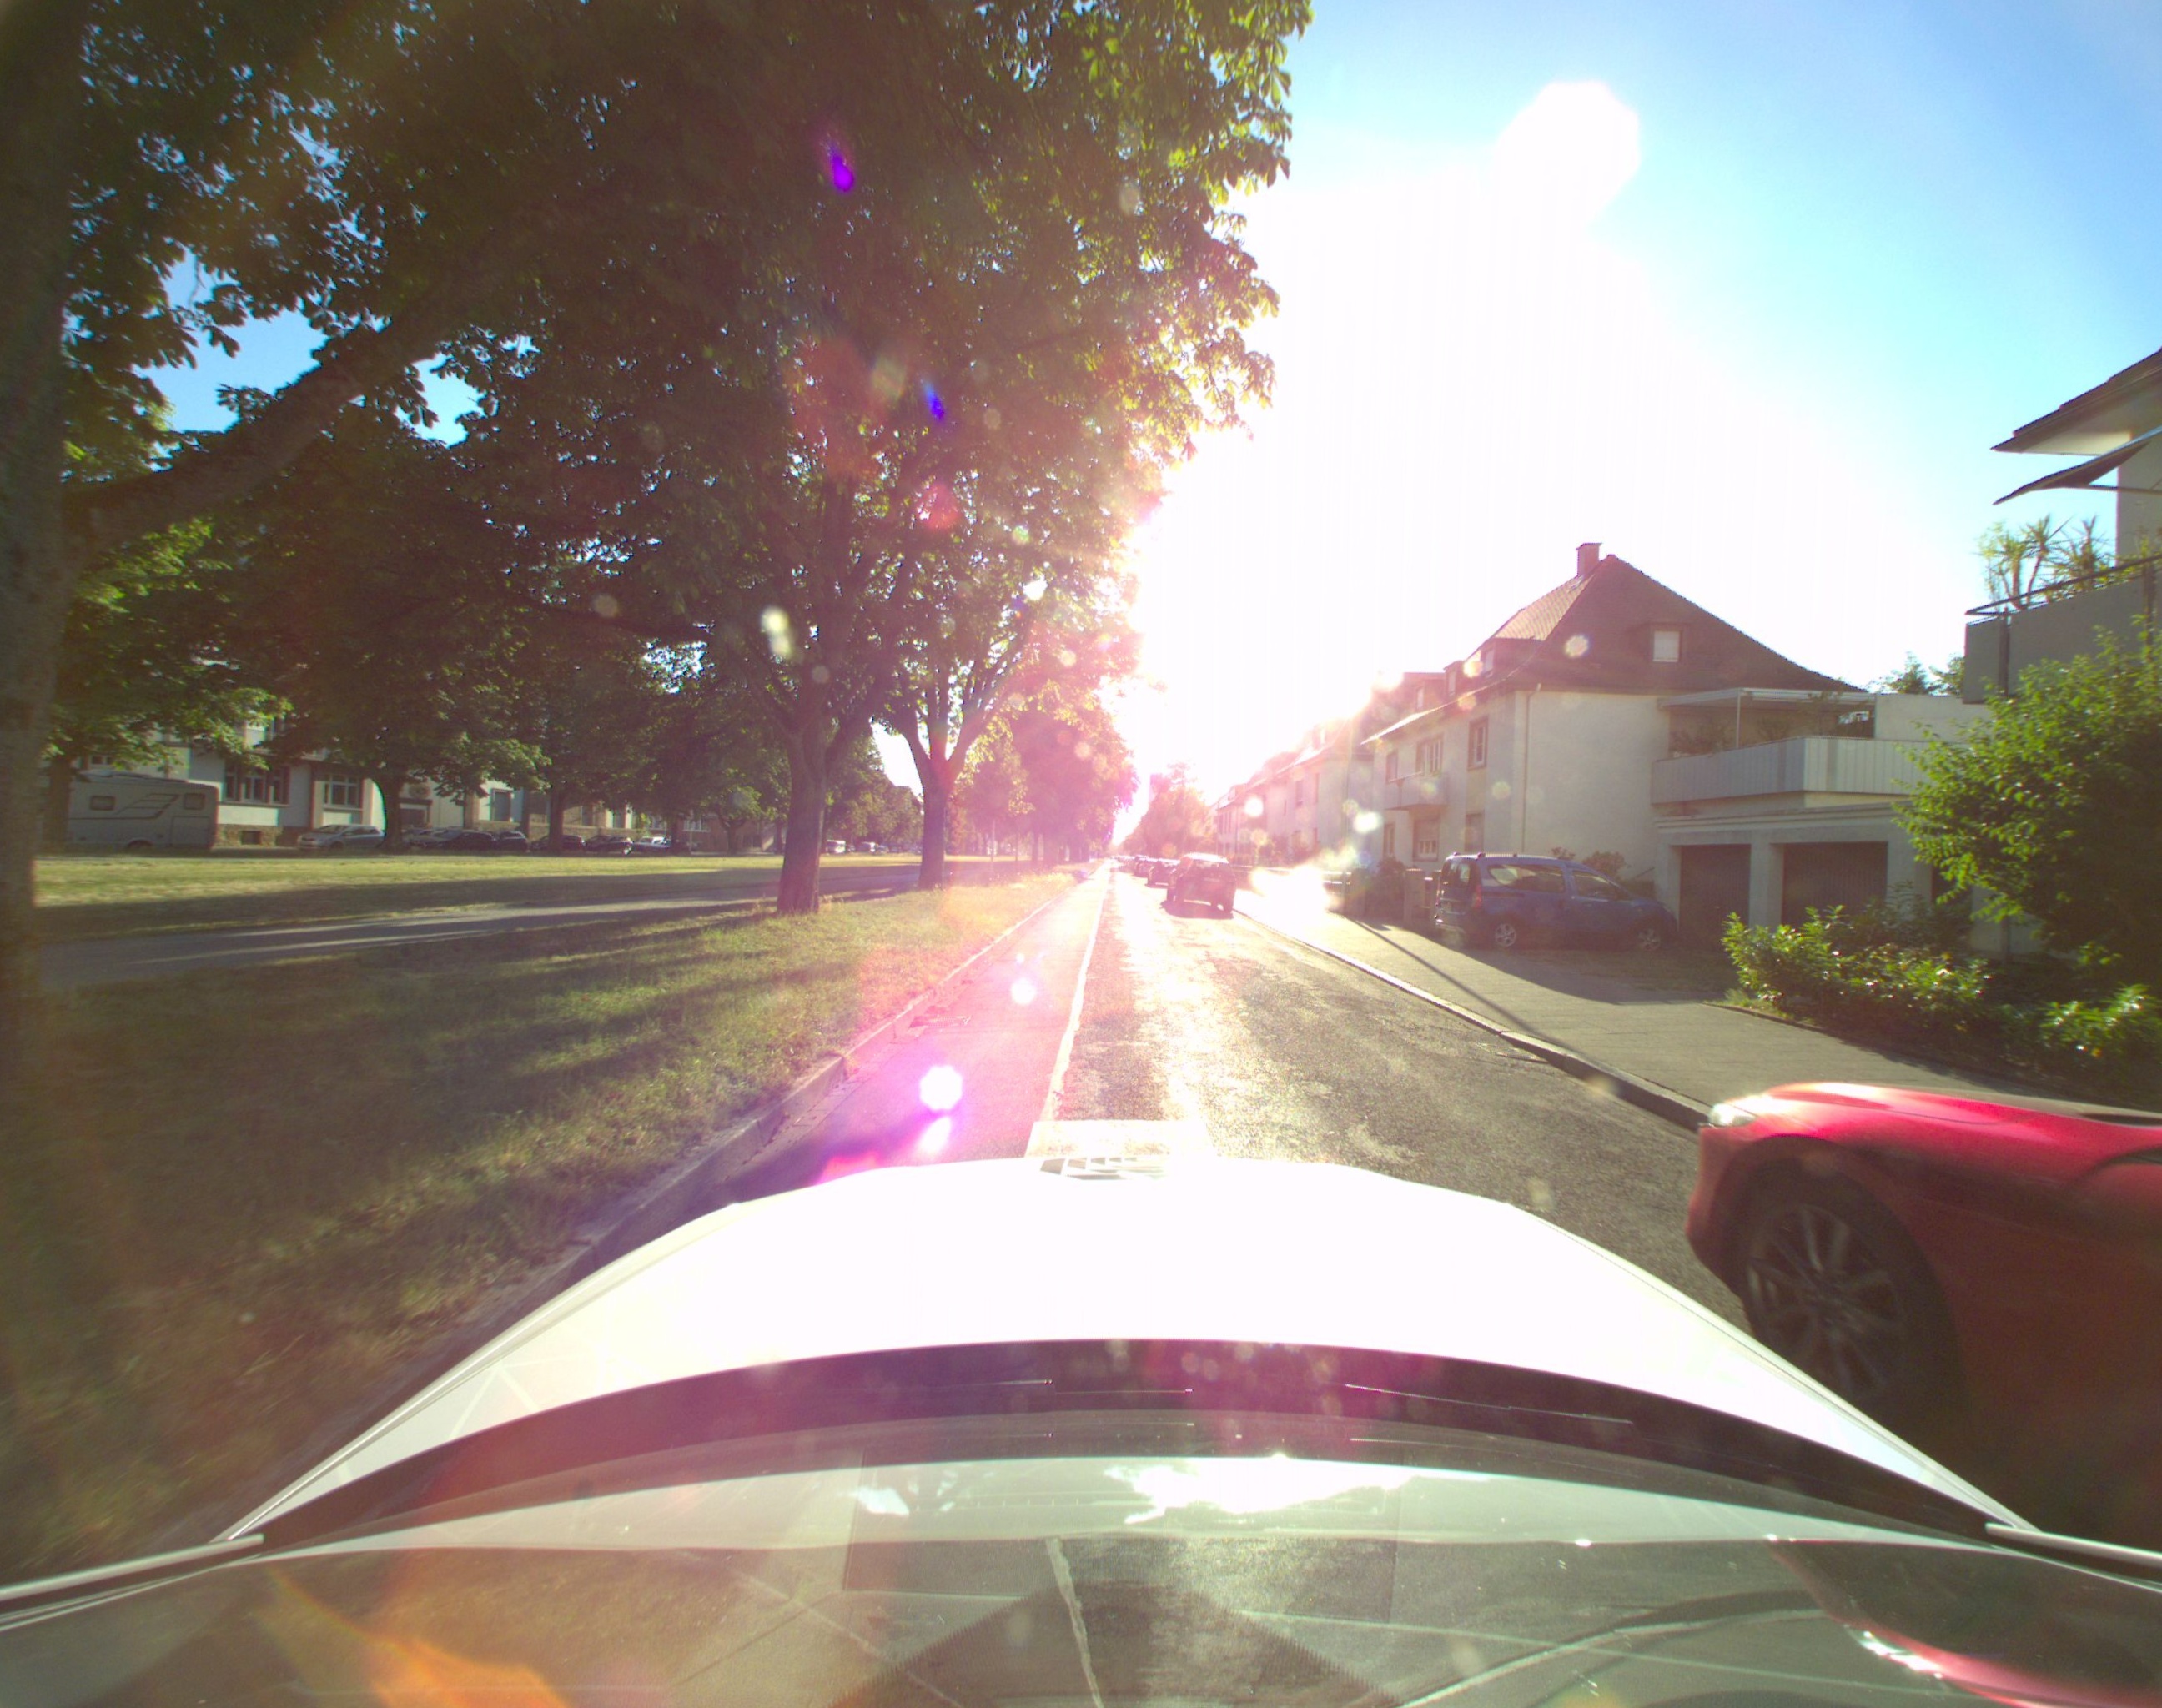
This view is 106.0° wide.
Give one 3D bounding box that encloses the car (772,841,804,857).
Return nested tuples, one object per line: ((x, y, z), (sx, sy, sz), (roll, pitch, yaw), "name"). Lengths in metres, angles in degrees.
((-35.289, -0.545, 98.176), (1.985, 1.659, 4.359), (4, -1, 4), "car")

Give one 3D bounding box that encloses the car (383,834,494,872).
((-32.377, 0.008, 41.219), (1.872, 1.674, 4.318), (4, -1, 3), "car")

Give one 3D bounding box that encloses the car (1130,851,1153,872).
((6.262, 0.793, 84.300), (1.986, 2.014, 4.000), (4, -1, 1), "car")

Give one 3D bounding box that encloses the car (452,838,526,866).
((-37.502, -0.115, 51.742), (1.752, 1.583, 3.792), (4, 0, 1), "car")

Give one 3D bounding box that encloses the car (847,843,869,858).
((-30.591, -0.473, 111.707), (1.722, 1.690, 3.878), (4, -2, 0), "car")

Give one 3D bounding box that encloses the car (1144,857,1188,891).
((4.534, 1.059, 44.190), (1.986, 1.653, 4.000), (3, -1, 1), "car")

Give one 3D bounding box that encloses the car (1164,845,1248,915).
((3.981, 0.779, 26.735), (1.987, 1.903, 4.390), (6, 0, 1), "car")

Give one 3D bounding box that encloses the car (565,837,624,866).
((-37.293, -0.177, 62.542), (1.987, 2.014, 3.999), (4, -1, 0), "car")

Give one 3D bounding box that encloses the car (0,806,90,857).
((-37.962, -0.832, 27.960), (1.985, 1.659, 4.574), (4, -1, 4), "car")

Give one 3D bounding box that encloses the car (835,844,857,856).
((-35.160, -0.612, 121.721), (1.987, 1.618, 3.999), (4, -1, 0), "car")

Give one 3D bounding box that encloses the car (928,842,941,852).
((-33.397, -1.604, 185.284), (1.986, 1.913, 4.001), (4, -1, 2), "car")

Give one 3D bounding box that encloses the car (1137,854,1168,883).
((5.623, 1.149, 64.471), (1.986, 2.014, 4.000), (4, -1, 1), "car")

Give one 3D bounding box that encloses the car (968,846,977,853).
((-31.768, -1.238, 238.928), (1.986, 2.013, 4.002), (2, 0, 2), "car")

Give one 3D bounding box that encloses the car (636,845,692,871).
((-31.535, 0.337, 61.658), (1.804, 1.781, 4.125), (4, -1, 3), "car")

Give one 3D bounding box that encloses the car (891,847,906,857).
((-33.157, -0.335, 148.339), (1.723, 1.762, 3.347), (4, -1, 2), "car")

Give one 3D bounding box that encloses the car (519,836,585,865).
((-37.304, -0.212, 57.520), (1.858, 1.803, 3.917), (4, -1, 2), "car")

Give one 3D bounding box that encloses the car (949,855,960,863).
((-31.241, 1.151, 200.672), (1.872, 1.752, 3.798), (4, -1, 2), "car")

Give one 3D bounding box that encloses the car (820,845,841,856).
((-35.143, -0.475, 114.486), (1.676, 1.342, 3.472), (4, -1, 2), "car")

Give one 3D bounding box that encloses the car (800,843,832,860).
((-29.989, -0.236, 92.401), (2.015, 1.659, 3.986), (4, -1, 3), "car")

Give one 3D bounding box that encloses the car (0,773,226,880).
((-32.782, -0.887, 25.897), (2.383, 3.130, 7.857), (5, 0, 2), "car")

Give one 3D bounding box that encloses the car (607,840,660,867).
((-37.190, -0.034, 67.822), (1.987, 2.014, 3.999), (4, -1, 0), "car")

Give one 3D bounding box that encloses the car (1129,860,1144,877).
((7.060, 1.832, 103.640), (1.685, 2.014, 3.626), (4, -1, 2), "car")

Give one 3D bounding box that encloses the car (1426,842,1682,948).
((9.069, 0.837, 15.858), (3.977, 1.823, 1.757), (2, -6, -3), "car")

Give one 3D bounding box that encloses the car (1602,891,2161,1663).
((2.851, 0.853, 1.070), (1.703, 1.359, 4.205), (4, -1, 2), "car")

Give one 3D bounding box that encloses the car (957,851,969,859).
((-26.834, 0.166, 184.975), (1.986, 1.734, 4.002), (2, 0, 2), "car")

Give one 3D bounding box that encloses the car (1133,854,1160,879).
((5.617, 1.077, 70.209), (1.986, 2.014, 4.000), (4, -1, 1), "car")

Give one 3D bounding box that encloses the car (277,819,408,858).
((-38.197, -0.755, 42.358), (1.987, 1.689, 5.158), (4, -1, 0), "car")

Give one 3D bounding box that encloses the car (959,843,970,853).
((-25.578, -1.234, 178.811), (1.648, 1.937, 3.570), (4, 2, 1), "car")
